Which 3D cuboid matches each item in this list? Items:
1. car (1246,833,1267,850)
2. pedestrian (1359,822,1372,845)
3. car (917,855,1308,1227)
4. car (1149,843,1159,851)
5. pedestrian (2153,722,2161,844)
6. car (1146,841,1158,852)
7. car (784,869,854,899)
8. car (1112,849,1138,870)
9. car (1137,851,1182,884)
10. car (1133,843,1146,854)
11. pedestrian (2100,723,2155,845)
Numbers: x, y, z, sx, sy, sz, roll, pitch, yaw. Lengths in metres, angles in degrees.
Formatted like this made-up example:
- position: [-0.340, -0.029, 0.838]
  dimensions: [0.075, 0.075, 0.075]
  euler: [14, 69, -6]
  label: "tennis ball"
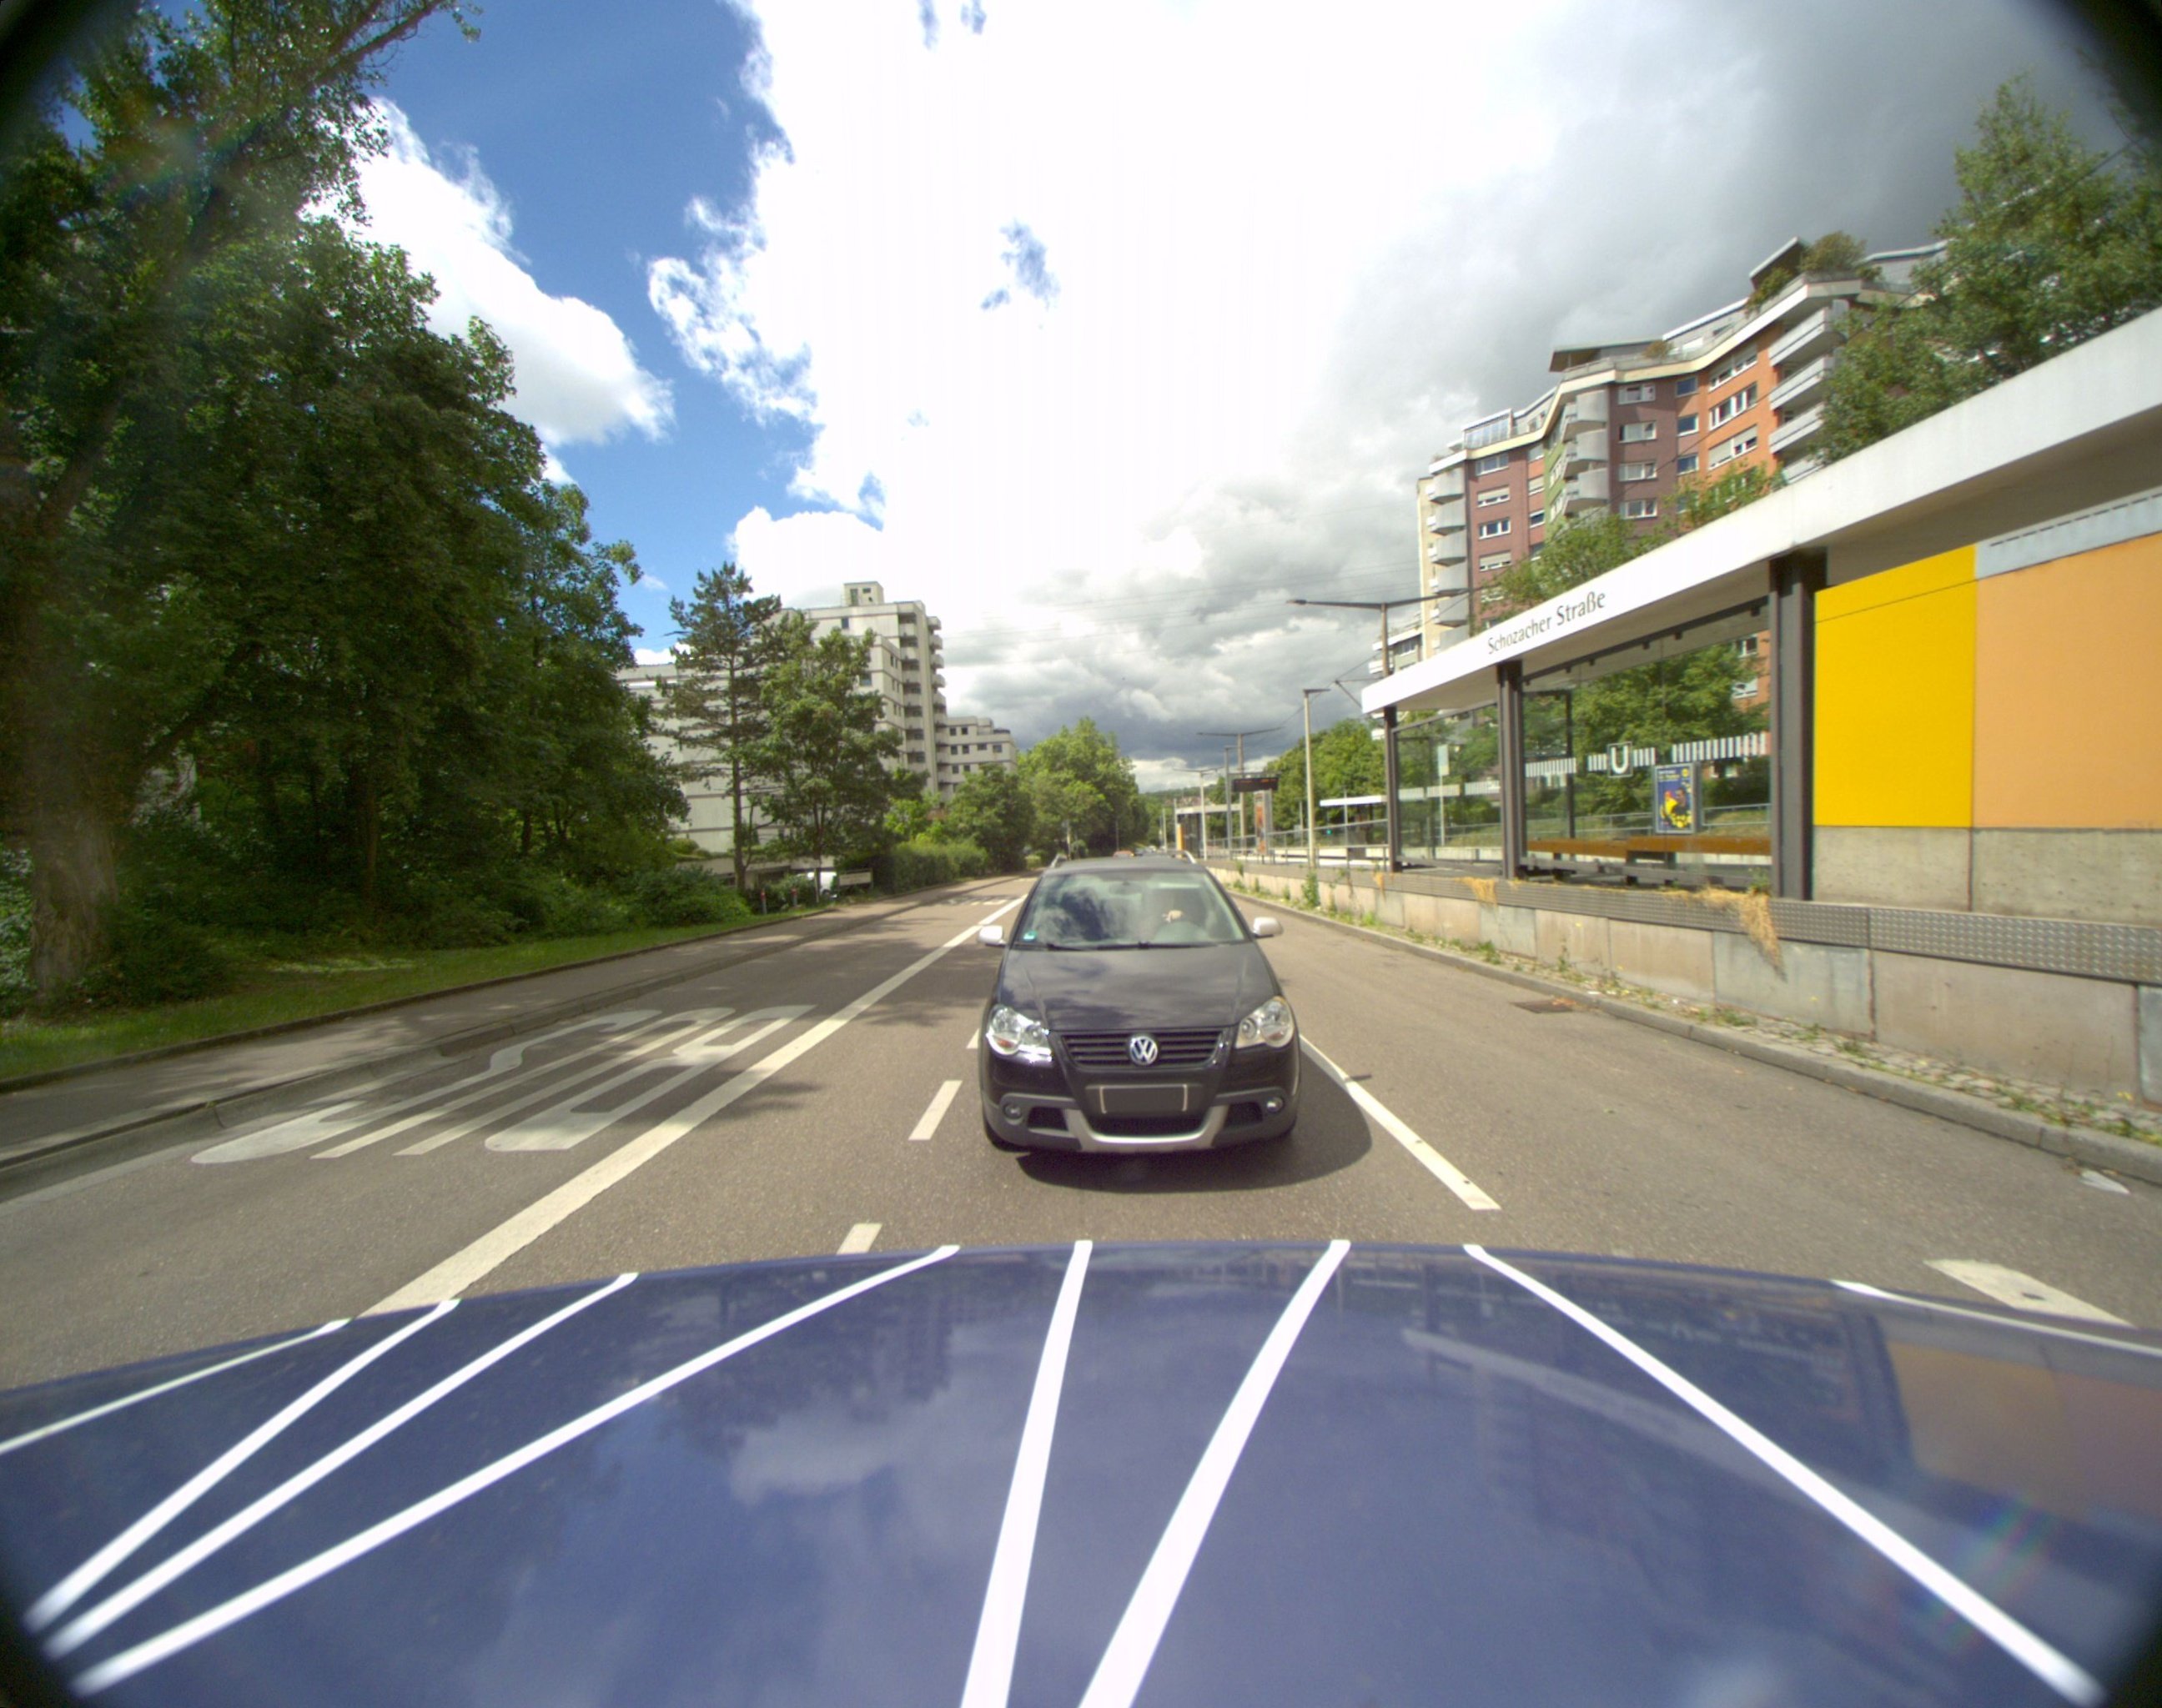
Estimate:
- position: [22.155, -1.598, 96.152]
  dimensions: [1.737, 2.002, 4.000]
  euler: [-2, 1, 2]
  label: "car"
- position: [16.288, -1.187, 43.513]
  dimensions: [0.536, 1.270, 0.561]
  euler: [-2, 1, -1]
  label: "pedestrian"
- position: [0.227, 0.829, 5.307]
  dimensions: [1.641, 1.521, 4.000]
  euler: [-2, 1, 3]
  label: "car"
- position: [15.439, -1.473, 160.897]
  dimensions: [1.801, 1.698, 4.000]
  euler: [-3, 1, 5]
  label: "car"
- position: [15.410, -1.001, 10.560]
  dimensions: [0.387, 1.703, 0.550]
  euler: [-3, 2, -40]
  label: "pedestrian"
- position: [12.961, -1.397, 139.150]
  dimensions: [1.997, 2.002, 4.001]
  euler: [-3, 1, 6]
  label: "car"
- position: [-19.889, 2.239, 57.807]
  dimensions: [4.543, 2.002, 2.001]
  euler: [-2, 1, 7]
  label: "car"
- position: [3.263, 0.373, 57.121]
  dimensions: [1.821, 1.377, 4.065]
  euler: [-2, 1, 2]
  label: "car"
- position: [3.720, 0.590, 36.445]
  dimensions: [1.821, 1.377, 4.065]
  euler: [-2, 1, 2]
  label: "car"
- position: [7.906, -0.729, 102.402]
  dimensions: [1.643, 1.395, 3.708]
  euler: [-2, 1, 4]
  label: "car"
- position: [15.035, -0.984, 10.925]
  dimensions: [0.354, 1.703, 0.426]
  euler: [-3, 2, -41]
  label: "pedestrian"
